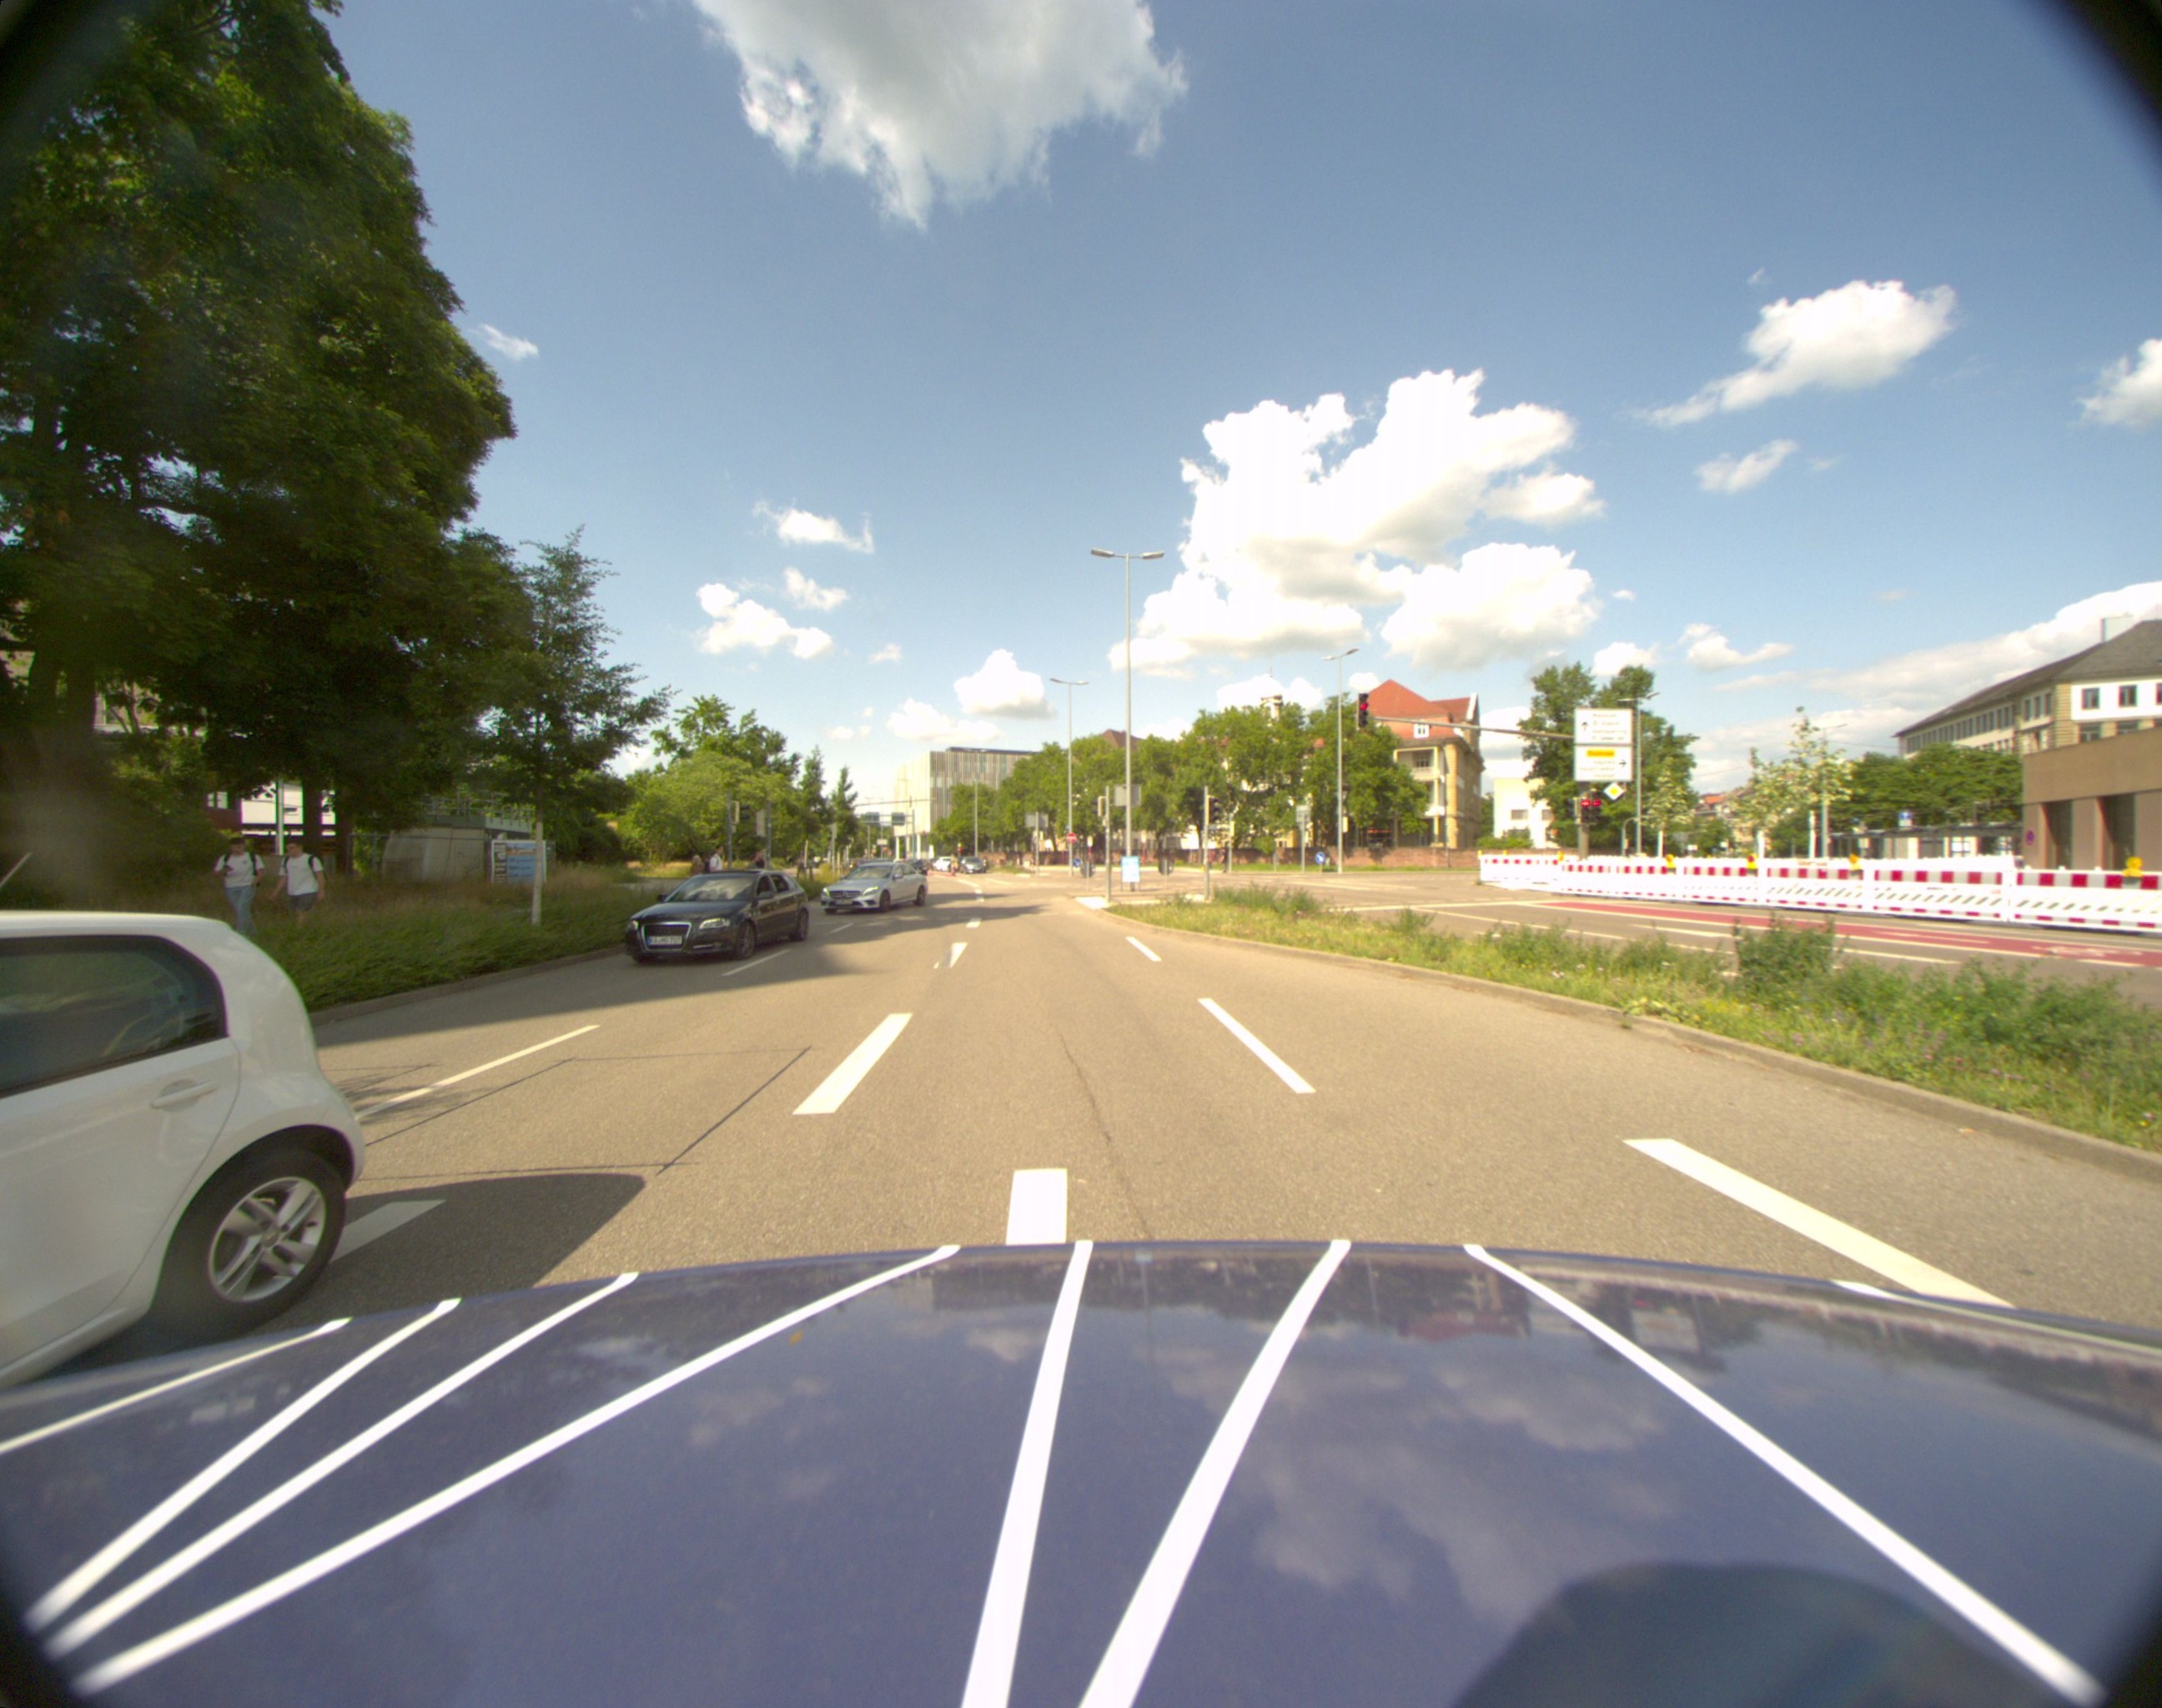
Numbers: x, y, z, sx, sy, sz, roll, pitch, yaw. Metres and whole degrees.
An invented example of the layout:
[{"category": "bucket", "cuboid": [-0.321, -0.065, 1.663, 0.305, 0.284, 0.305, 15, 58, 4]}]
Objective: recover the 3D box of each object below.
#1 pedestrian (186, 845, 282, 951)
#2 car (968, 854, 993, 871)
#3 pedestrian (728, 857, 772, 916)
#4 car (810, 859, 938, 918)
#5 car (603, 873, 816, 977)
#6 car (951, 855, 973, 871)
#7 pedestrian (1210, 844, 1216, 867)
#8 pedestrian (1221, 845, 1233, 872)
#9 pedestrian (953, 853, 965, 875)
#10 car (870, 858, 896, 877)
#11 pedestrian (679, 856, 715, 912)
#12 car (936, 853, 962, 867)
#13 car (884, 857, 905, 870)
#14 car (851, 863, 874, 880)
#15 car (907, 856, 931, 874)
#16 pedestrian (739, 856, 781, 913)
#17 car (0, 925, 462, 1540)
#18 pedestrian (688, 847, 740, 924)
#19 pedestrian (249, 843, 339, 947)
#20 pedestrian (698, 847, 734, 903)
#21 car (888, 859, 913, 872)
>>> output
[{"category": "pedestrian", "cuboid": [-14.129, 0.711, 12.702, 0.616, 1.690, 0.889, 2, 1, -5]}, {"category": "car", "cuboid": [-8.659, 0.721, 65.218, 2.000, 1.368, 4.265, -2, 1, -10]}, {"category": "pedestrian", "cuboid": [-10.071, 0.973, 23.162, 0.928, 1.725, 0.768, -2, 1, -2]}, {"category": "car", "cuboid": [-6.164, 0.977, 23.328, 1.934, 1.447, 4.761, -1, 1, 9]}, {"category": "car", "cuboid": [-6.172, 1.095, 13.215, 1.703, 1.364, 4.132, -1, 1, -1]}, {"category": "car", "cuboid": [-11.266, 0.839, 71.964, 1.734, 1.327, 3.784, -2, 1, -13]}, {"category": "pedestrian", "cuboid": [10.315, 0.122, 59.427, 0.369, 1.722, 0.451, -2, 1, 4]}, {"category": "pedestrian", "cuboid": [11.147, 0.341, 57.840, 0.582, 1.982, 0.621, -3, 1, -27]}, {"category": "pedestrian", "cuboid": [-9.663, 0.765, 60.197, 0.739, 1.704, 0.874, -3, 1, -22]}, {"category": "car", "cuboid": [-16.190, 1.079, 62.328, 1.827, 1.454, 3.995, -1, 0, -12]}, {"category": "pedestrian", "cuboid": [-12.361, 0.950, 24.500, 0.768, 1.725, 0.718, -2, 1, -8]}, {"category": "car", "cuboid": [-13.717, 0.633, 78.779, 1.781, 1.346, 3.992, -2, 1, -23]}, {"category": "car", "cuboid": [-18.408, 0.924, 75.111, 1.911, 1.127, 4.096, -1, 2, -13]}, {"category": "car", "cuboid": [-19.747, 1.561, 68.798, 1.827, 1.454, 3.995, -1, 0, -13]}, {"category": "car", "cuboid": [-13.729, 0.881, 64.272, 1.828, 1.454, 3.995, -1, 0, -14]}, {"category": "pedestrian", "cuboid": [-10.090, 0.941, 23.938, 0.928, 1.725, 0.768, -2, 1, -2]}, {"category": "car", "cuboid": [-3.556, 1.052, 1.463, 1.654, 1.413, 3.998, -1, 0, -5]}, {"category": "pedestrian", "cuboid": [-9.928, 0.835, 20.575, 0.965, 2.002, 0.768, -2, 1, -2]}, {"category": "pedestrian", "cuboid": [-13.361, 0.672, 12.928, 0.616, 1.690, 0.889, 2, 1, -5]}, {"category": "pedestrian", "cuboid": [-11.582, 0.657, 24.117, 0.768, 1.725, 0.718, -2, 1, -8]}, {"category": "car", "cuboid": [-16.340, 1.051, 68.766, 1.600, 1.127, 3.622, -1, 0, -23]}]
